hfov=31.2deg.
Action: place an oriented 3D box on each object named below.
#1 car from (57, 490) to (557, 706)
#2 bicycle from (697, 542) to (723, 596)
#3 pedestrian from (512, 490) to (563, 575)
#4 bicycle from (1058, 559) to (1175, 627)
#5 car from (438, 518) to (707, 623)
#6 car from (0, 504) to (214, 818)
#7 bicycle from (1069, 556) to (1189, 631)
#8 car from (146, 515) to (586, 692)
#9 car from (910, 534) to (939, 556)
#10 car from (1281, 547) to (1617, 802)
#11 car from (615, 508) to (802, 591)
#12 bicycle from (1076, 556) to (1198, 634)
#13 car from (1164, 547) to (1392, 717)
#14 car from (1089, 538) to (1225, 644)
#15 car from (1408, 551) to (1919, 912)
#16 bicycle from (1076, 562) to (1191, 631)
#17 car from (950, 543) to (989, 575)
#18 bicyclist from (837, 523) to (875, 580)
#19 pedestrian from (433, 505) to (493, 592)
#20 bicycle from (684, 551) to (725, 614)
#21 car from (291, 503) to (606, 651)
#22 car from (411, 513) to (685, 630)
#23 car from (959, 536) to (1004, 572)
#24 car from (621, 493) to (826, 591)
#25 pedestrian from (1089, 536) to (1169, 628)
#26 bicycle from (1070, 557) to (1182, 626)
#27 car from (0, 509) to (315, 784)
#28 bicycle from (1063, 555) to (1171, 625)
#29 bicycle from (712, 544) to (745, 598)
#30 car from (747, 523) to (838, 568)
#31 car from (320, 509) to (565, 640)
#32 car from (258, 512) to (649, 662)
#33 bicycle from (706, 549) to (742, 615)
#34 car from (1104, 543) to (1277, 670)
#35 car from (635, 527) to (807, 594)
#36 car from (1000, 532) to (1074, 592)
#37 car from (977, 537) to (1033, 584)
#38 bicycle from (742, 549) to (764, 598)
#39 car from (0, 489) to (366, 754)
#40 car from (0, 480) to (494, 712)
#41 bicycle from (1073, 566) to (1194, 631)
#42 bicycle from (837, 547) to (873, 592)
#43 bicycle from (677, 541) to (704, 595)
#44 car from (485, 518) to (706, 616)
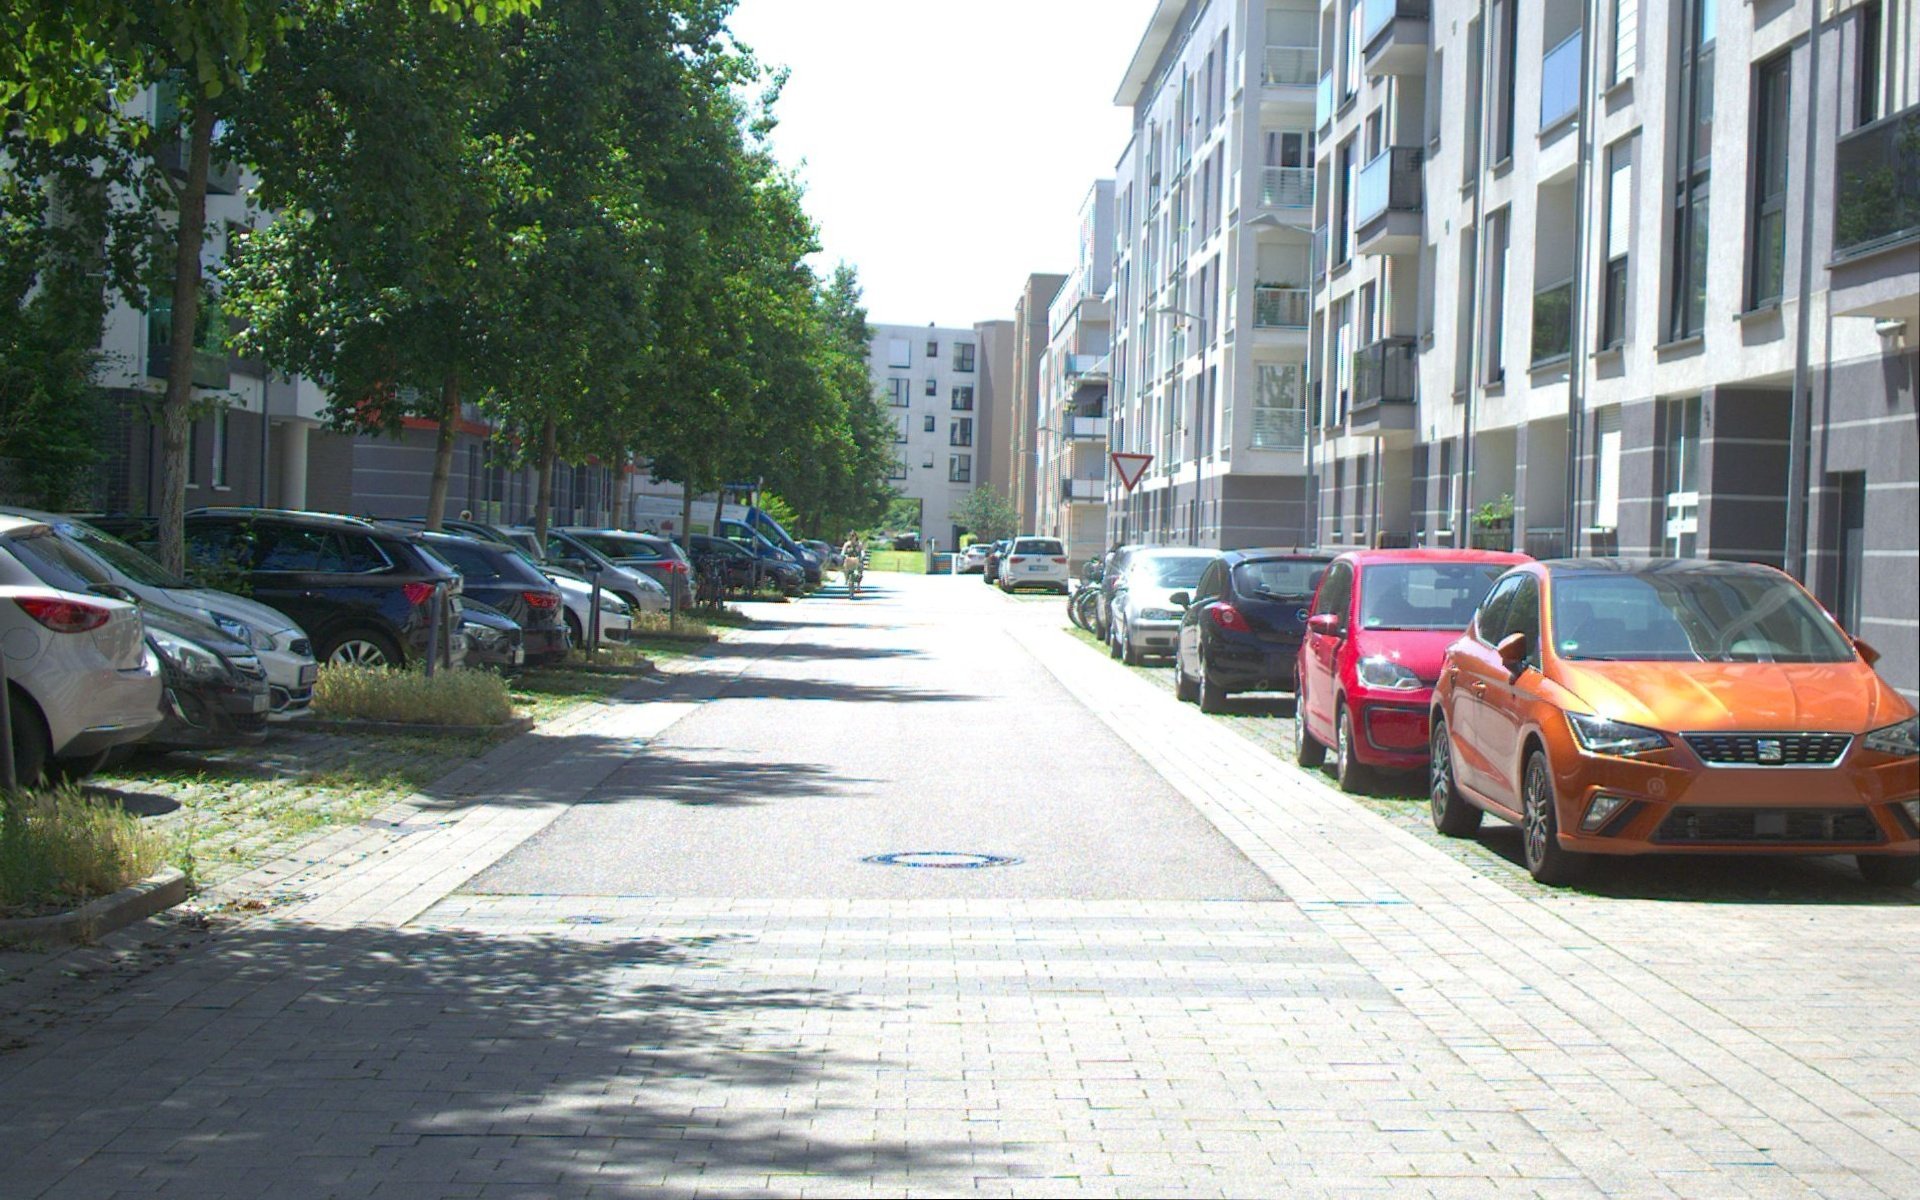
[{"bbox_3d":[-5.748,-0.036,30.596,3.987,1.645,1.918,3,1,1],"label":"car"},{"bbox_3d":[-5.941,-0.747,81.660,0.434,1.200,1.700,3,2,0],"label":"bicycle"},{"bbox_3d":[-10.165,-1.620,82.763,1.009,2.007,1.129,1,1,2],"label":"pedestrian"},{"bbox_3d":[2.658,-0.122,58.264,1.924,1.129,0.609,1,1,9],"label":"bicycle"},{"bbox_3d":[-6.239,-0.462,55.730,4.180,1.481,1.959,3,0,-4],"label":"car"},{"bbox_3d":[-6.312,0.172,18.151,4.252,1.512,1.925,4,1,-1],"label":"car"},{"bbox_3d":[2.817,-0.112,57.316,1.923,1.213,0.461,1,1,-9],"label":"bicycle"},{"bbox_3d":[-5.675,0.022,33.243,3.973,1.440,1.776,3,1,-4],"label":"car"},{"bbox_3d":[-2.601,-4.015,250.980,1.993,1.514,4.000,2,1,-2],"label":"car"},{"bbox_3d":[3.053,0.412,22.092,1.595,1.480,3.676,0,1,-1],"label":"car"},{"bbox_3d":[-7.206,-1.456,98.948,5.145,2.112,2.312,3,1,-1],"label":"car"},{"bbox_3d":[2.839,-0.079,55.213,1.869,1.213,0.715,1,1,-4],"label":"bicycle"},{"bbox_3d":[2.881,0.246,31.860,1.642,1.457,4.118,0,1,-1],"label":"car"},{"bbox_3d":[2.911,-0.164,51.566,1.739,1.480,4.229,1,1,-1],"label":"car"},{"bbox_3d":[3.335,0.523,16.558,1.737,1.482,4.259,1,1,-1],"label":"car"},{"bbox_3d":[2.818,-0.059,55.960,1.786,1.100,0.747,1,1,-4],"label":"bicycle"},{"bbox_3d":[0.531,-2.323,194.887,1.993,1.711,4.000,2,1,-2],"label":"car"},{"bbox_3d":[-2.720,-1.277,89.835,0.954,1.454,0.800,2,1,-1],"label":"bicyclist"},{"bbox_3d":[-9.760,-1.016,67.540,1.000,1.684,0.832,2,1,0],"label":"pedestrian"},{"bbox_3d":[-4.697,-0.325,63.149,0.433,1.124,1.979,1,1,-13],"label":"bicycle"},{"bbox_3d":[-6.297,-0.294,42.667,3.707,1.580,1.821,3,1,-6],"label":"car"},{"bbox_3d":[-6.296,-0.444,52.833,3.937,1.548,1.872,3,1,-1],"label":"car"},{"bbox_3d":[1.045,-2.243,167.657,1.993,1.669,4.000,2,1,-2],"label":"car"},{"bbox_3d":[-7.142,-1.754,104.376,6.023,2.806,2.605,1,1,0],"label":"car"},{"bbox_3d":[2.821,-0.305,57.440,1.178,1.509,0.688,1,1,-10],"label":"pedestrian"},{"bbox_3d":[2.797,-0.139,57.899,1.833,1.144,0.461,0,1,-19],"label":"bicycle"},{"bbox_3d":[-6.220,0.172,20.598,4.316,1.471,1.793,3,1,-1],"label":"car"},{"bbox_3d":[2.753,-0.173,60.261,1.860,1.189,0.687,1,1,3],"label":"bicycle"},{"bbox_3d":[-5.508,-0.703,81.656,0.570,1.170,1.769,5,2,-8],"label":"bicycle"},{"bbox_3d":[-7.929,-2.588,163.212,3.988,2.007,2.000,2,1,6],"label":"car"},{"bbox_3d":[-6.840,-0.352,45.668,2.932,1.495,1.848,4,1,-2],"label":"car"},{"bbox_3d":[-5.867,-0.168,40.256,4.360,1.704,2.000,0,1,-3],"label":"car"},{"bbox_3d":[-4.335,-0.344,63.178,0.371,1.176,1.821,1,1,-13],"label":"bicycle"},{"bbox_3d":[2.841,0.043,43.248,1.834,1.499,4.351,0,1,-1],"label":"car"},{"bbox_3d":[-6.355,-1.059,91.770,4.383,1.509,2.075,4,1,0],"label":"car"},{"bbox_3d":[2.201,-1.107,99.001,1.997,1.651,4.115,1,1,0],"label":"car"},{"bbox_3d":[1.583,-1.372,119.109,1.757,1.547,4.000,2,1,3],"label":"car"},{"bbox_3d":[-4.921,-0.636,81.879,0.466,1.138,1.926,2,1,-3],"label":"bicycle"},{"bbox_3d":[-6.196,0.070,23.158,3.987,1.586,1.884,3,1,0],"label":"car"},{"bbox_3d":[-5.961,-0.061,28.068,3.987,1.624,1.933,3,1,-1],"label":"car"},{"bbox_3d":[2.858,-0.024,56.655,1.923,1.031,0.559,1,1,-4],"label":"bicycle"},{"bbox_3d":[-2.741,-0.806,89.748,0.898,1.125,2.040,2,1,-1],"label":"bicycle"},{"bbox_3d":[-6.408,-0.777,81.910,0.518,1.200,1.752,3,2,-3],"label":"bicycle"},{"bbox_3d":[-6.401,-0.590,60.646,3.630,1.515,1.832,3,1,0],"label":"car"}]
